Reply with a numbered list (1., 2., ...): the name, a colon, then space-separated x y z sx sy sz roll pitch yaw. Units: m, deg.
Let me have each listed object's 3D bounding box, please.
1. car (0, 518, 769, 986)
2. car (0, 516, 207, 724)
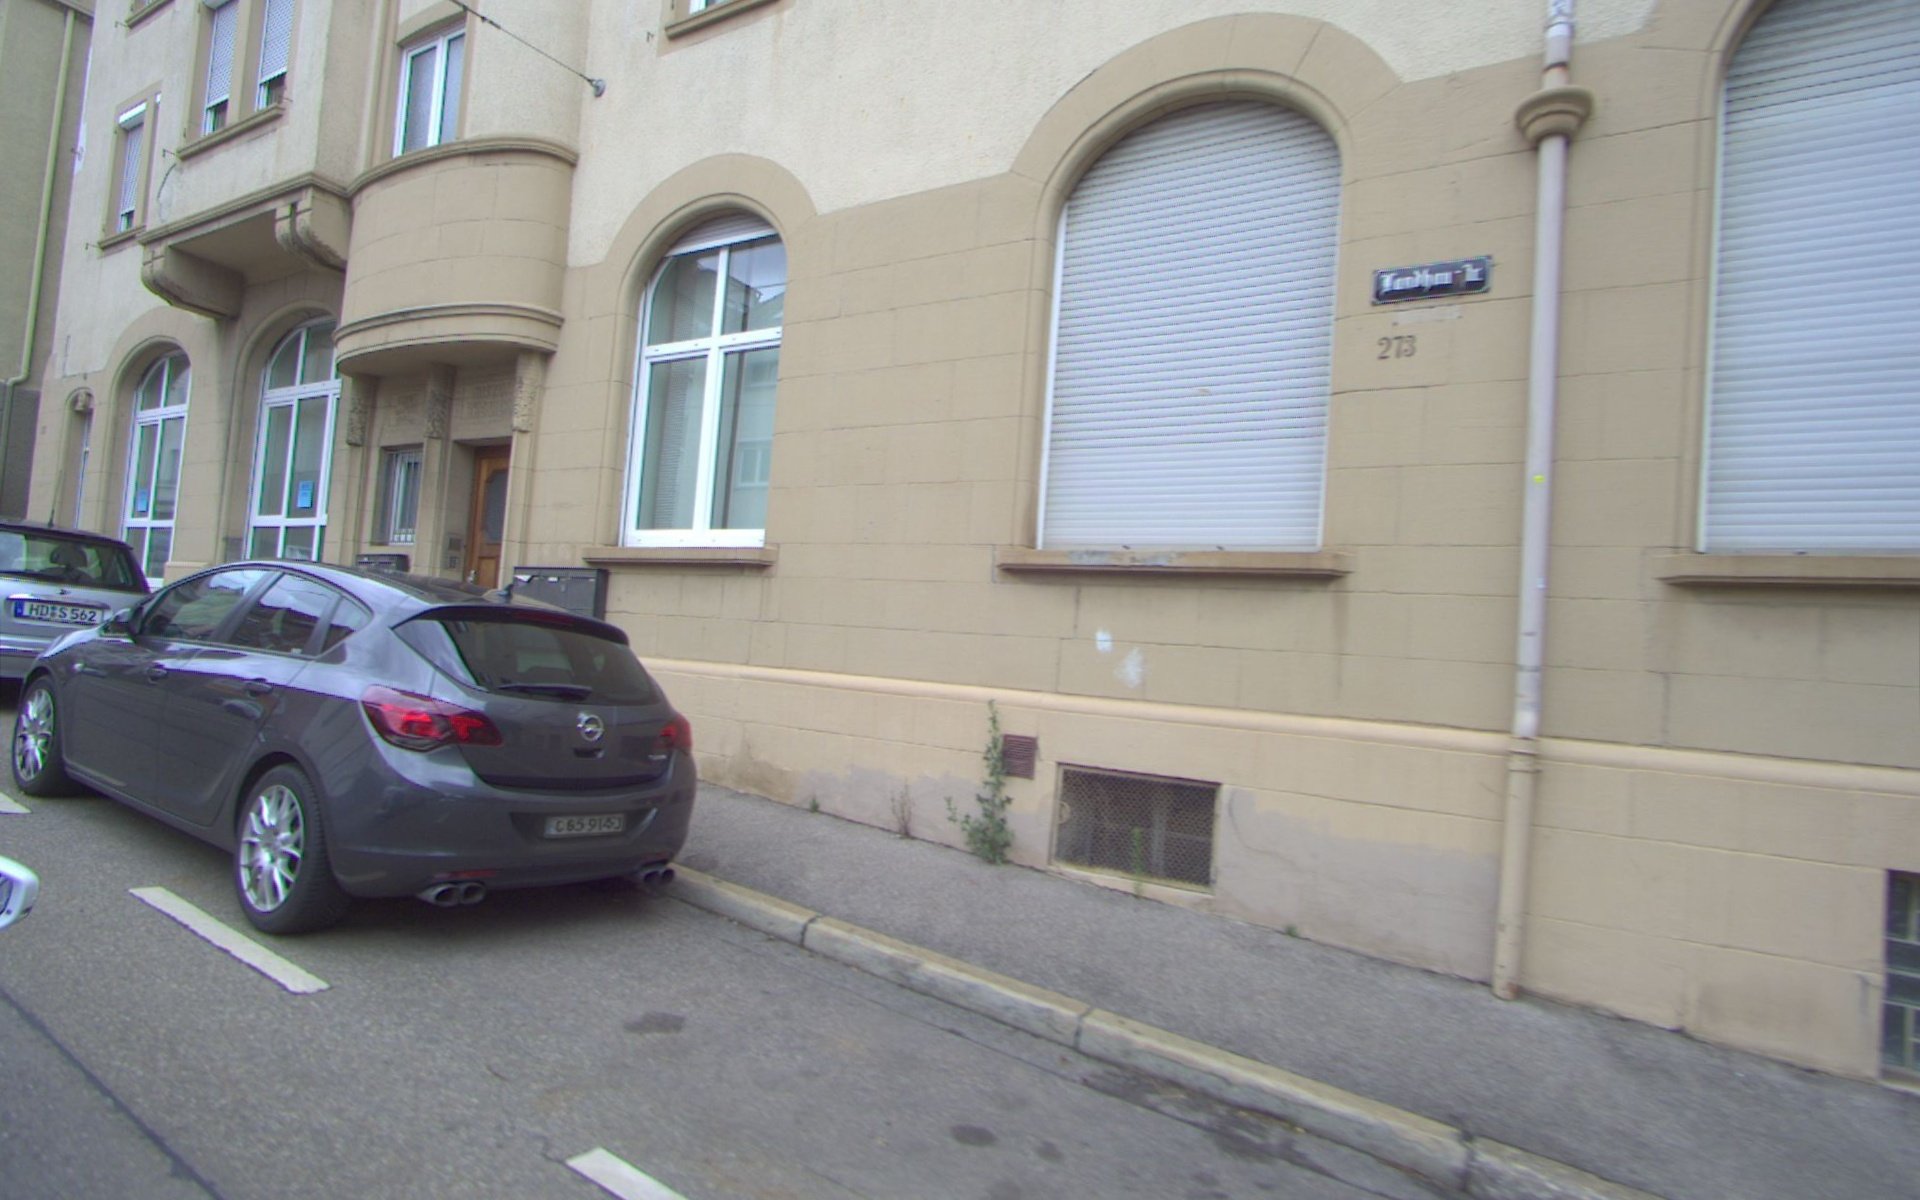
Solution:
1. car: -3.235 0.539 5.263 4.099 1.418 1.845 6 -4 32
2. car: -8.168 -0.004 8.401 3.607 1.419 1.700 7 -4 33
